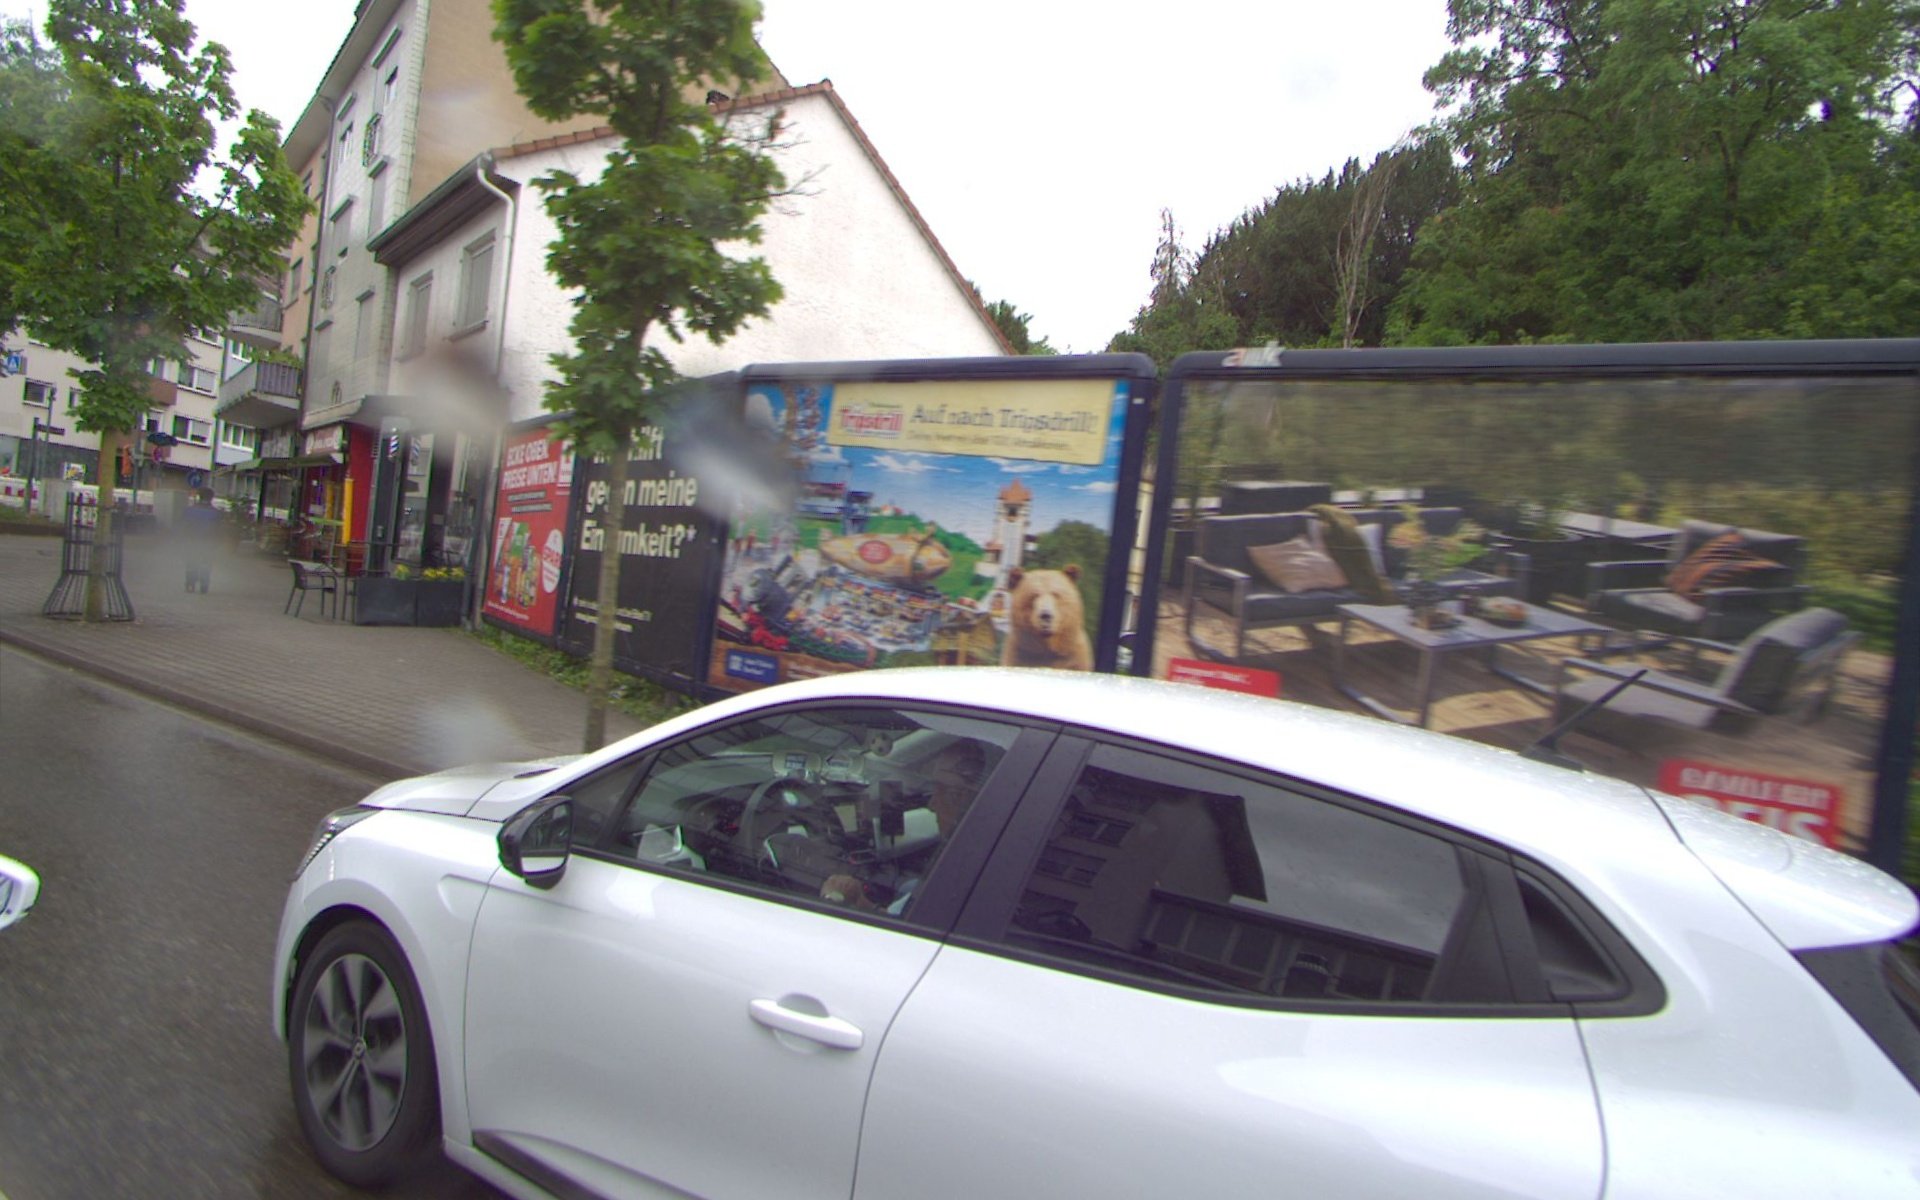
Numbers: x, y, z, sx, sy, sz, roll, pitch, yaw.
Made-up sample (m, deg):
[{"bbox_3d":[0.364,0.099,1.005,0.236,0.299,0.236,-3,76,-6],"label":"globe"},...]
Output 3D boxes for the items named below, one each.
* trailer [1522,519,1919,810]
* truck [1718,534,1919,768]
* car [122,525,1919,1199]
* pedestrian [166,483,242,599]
[{"bbox_3d":[9.785,0.716,11.686,5.303,2.753,2.126,8,3,33],"label":"trailer"},{"bbox_3d":[15.776,0.978,14.912,6.819,3.259,2.630,7,3,35],"label":"truck"},{"bbox_3d":[-0.175,0.815,2.527,3.801,1.412,1.669,8,-2,31],"label":"car"},{"bbox_3d":[-12.431,-0.967,16.535,0.860,1.778,0.789,8,3,44],"label":"pedestrian"}]
